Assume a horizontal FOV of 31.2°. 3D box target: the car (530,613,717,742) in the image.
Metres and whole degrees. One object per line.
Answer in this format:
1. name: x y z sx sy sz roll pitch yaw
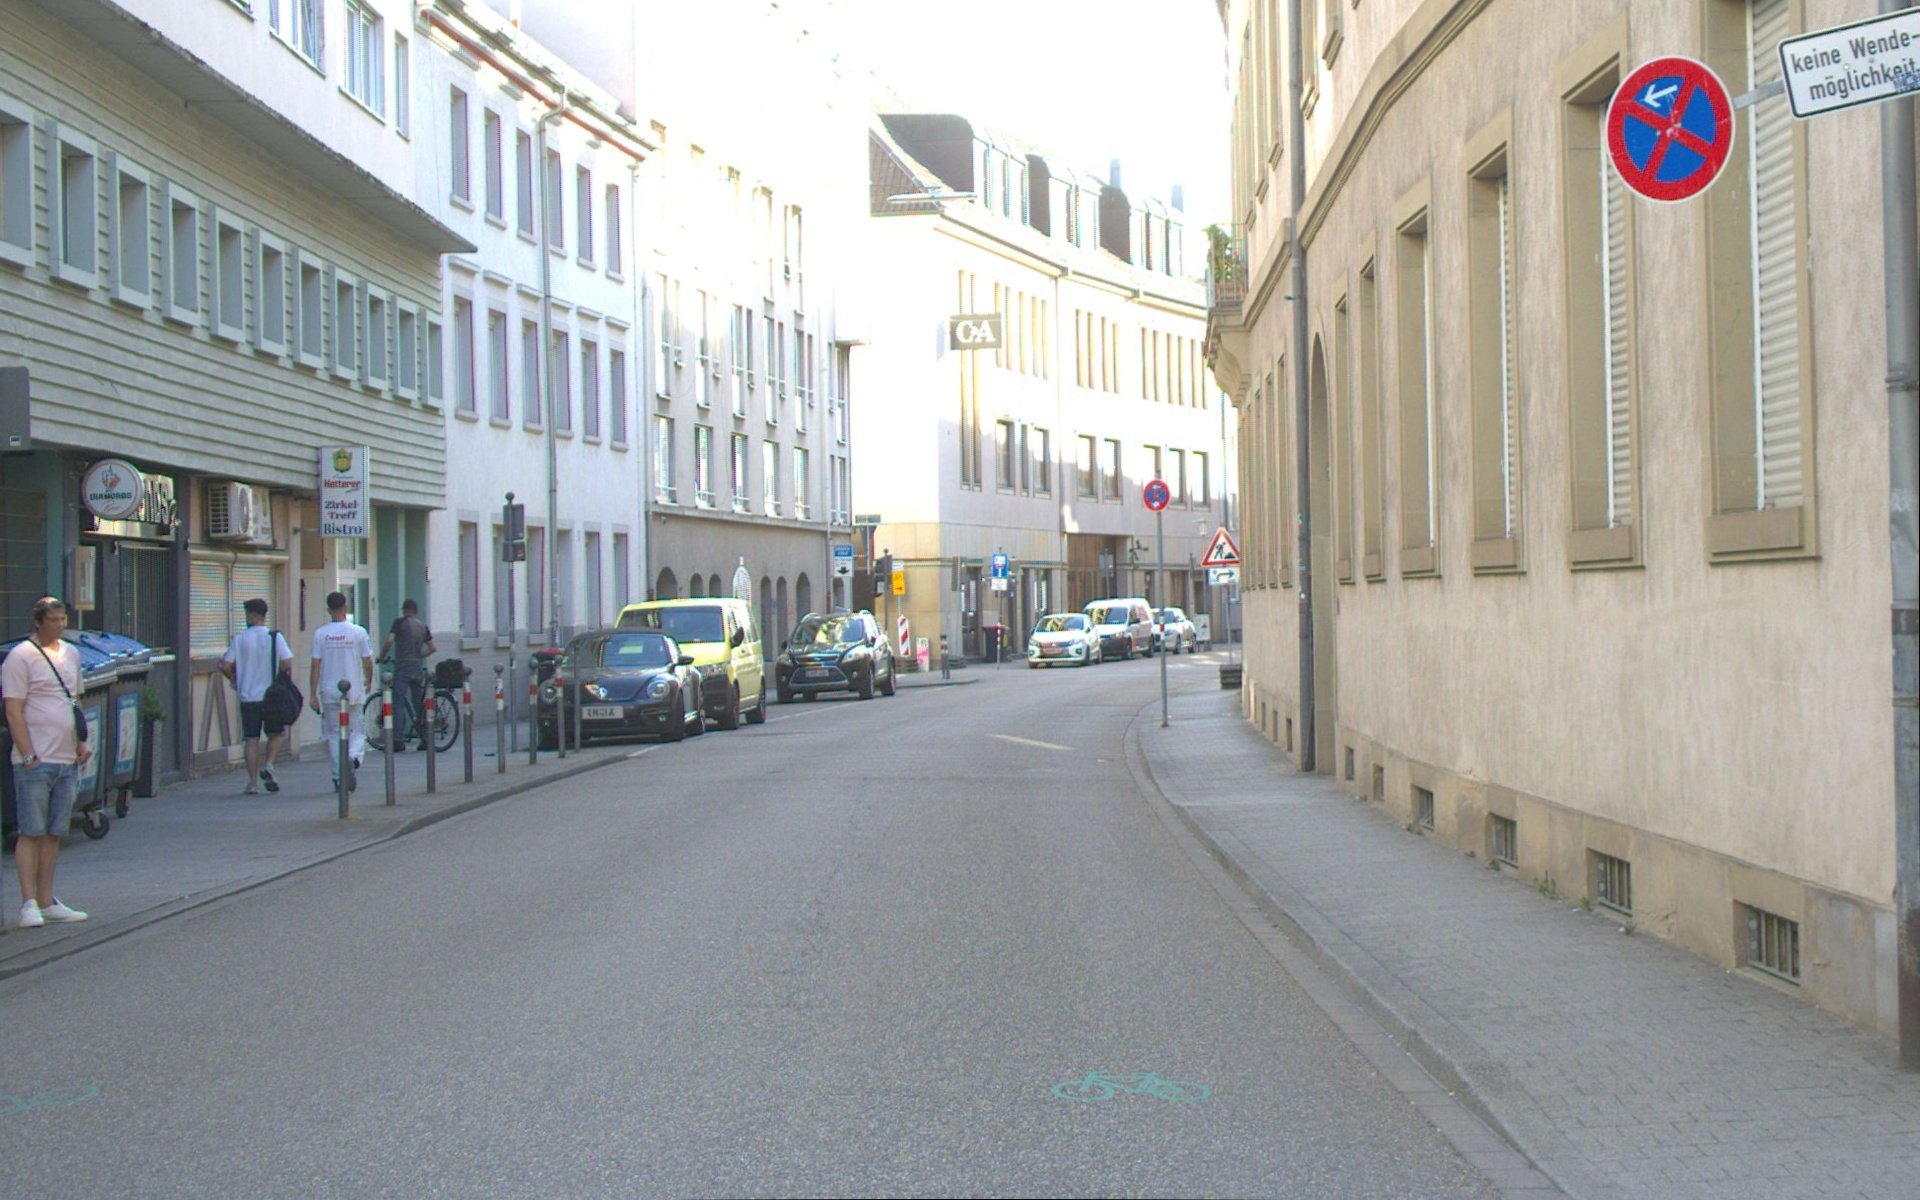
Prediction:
1. car: -4.329 0.968 44.793 1.819 1.481 4.076 -4 0 2

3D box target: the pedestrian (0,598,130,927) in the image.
1. pedestrian: -4.736 0.827 17.854 0.493 1.664 0.626 1 0 44

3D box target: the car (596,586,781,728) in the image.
1. car: -3.912 0.797 50.345 1.880 1.860 4.863 -4 0 4

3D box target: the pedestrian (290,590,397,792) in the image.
1. pedestrian: -5.440 0.792 30.368 0.698 1.728 0.829 -2 0 3

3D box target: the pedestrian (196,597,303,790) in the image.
1. pedestrian: -6.278 0.815 30.405 0.672 1.664 0.894 -2 0 3

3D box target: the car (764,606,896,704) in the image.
1. car: -2.471 1.031 66.385 1.740 1.705 4.189 -4 0 8

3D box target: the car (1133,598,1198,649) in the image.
1. car: 6.492 0.723 108.339 1.272 1.502 3.399 -3 0 16

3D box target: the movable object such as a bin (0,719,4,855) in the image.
1. movable object such as a bin: -6.847 1.301 23.653 0.393 0.939 0.467 -1 0 0

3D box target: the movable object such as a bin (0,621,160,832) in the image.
1. movable object such as a bin: -6.812 0.941 26.099 1.122 1.515 1.342 -1 1 0

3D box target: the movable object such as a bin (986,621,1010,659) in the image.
1. movable object such as a bin: 1.092 1.145 98.215 0.609 1.057 0.713 1 0 7

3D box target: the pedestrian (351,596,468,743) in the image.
1. pedestrian: -6.582 0.828 41.101 1.079 1.723 0.801 -1 0 25

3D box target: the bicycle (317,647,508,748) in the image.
1. bicycle: -6.546 1.167 41.086 2.131 1.159 0.822 -1 0 25

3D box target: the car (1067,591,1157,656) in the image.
1. car: 4.547 0.684 102.400 1.671 1.812 4.548 -3 0 15

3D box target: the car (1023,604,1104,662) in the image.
1. car: 2.930 0.911 96.730 1.671 1.502 3.792 -3 0 10

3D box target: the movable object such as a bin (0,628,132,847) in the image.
1. movable object such as a bin: -6.626 0.970 24.655 0.968 1.466 1.474 -1 1 0
